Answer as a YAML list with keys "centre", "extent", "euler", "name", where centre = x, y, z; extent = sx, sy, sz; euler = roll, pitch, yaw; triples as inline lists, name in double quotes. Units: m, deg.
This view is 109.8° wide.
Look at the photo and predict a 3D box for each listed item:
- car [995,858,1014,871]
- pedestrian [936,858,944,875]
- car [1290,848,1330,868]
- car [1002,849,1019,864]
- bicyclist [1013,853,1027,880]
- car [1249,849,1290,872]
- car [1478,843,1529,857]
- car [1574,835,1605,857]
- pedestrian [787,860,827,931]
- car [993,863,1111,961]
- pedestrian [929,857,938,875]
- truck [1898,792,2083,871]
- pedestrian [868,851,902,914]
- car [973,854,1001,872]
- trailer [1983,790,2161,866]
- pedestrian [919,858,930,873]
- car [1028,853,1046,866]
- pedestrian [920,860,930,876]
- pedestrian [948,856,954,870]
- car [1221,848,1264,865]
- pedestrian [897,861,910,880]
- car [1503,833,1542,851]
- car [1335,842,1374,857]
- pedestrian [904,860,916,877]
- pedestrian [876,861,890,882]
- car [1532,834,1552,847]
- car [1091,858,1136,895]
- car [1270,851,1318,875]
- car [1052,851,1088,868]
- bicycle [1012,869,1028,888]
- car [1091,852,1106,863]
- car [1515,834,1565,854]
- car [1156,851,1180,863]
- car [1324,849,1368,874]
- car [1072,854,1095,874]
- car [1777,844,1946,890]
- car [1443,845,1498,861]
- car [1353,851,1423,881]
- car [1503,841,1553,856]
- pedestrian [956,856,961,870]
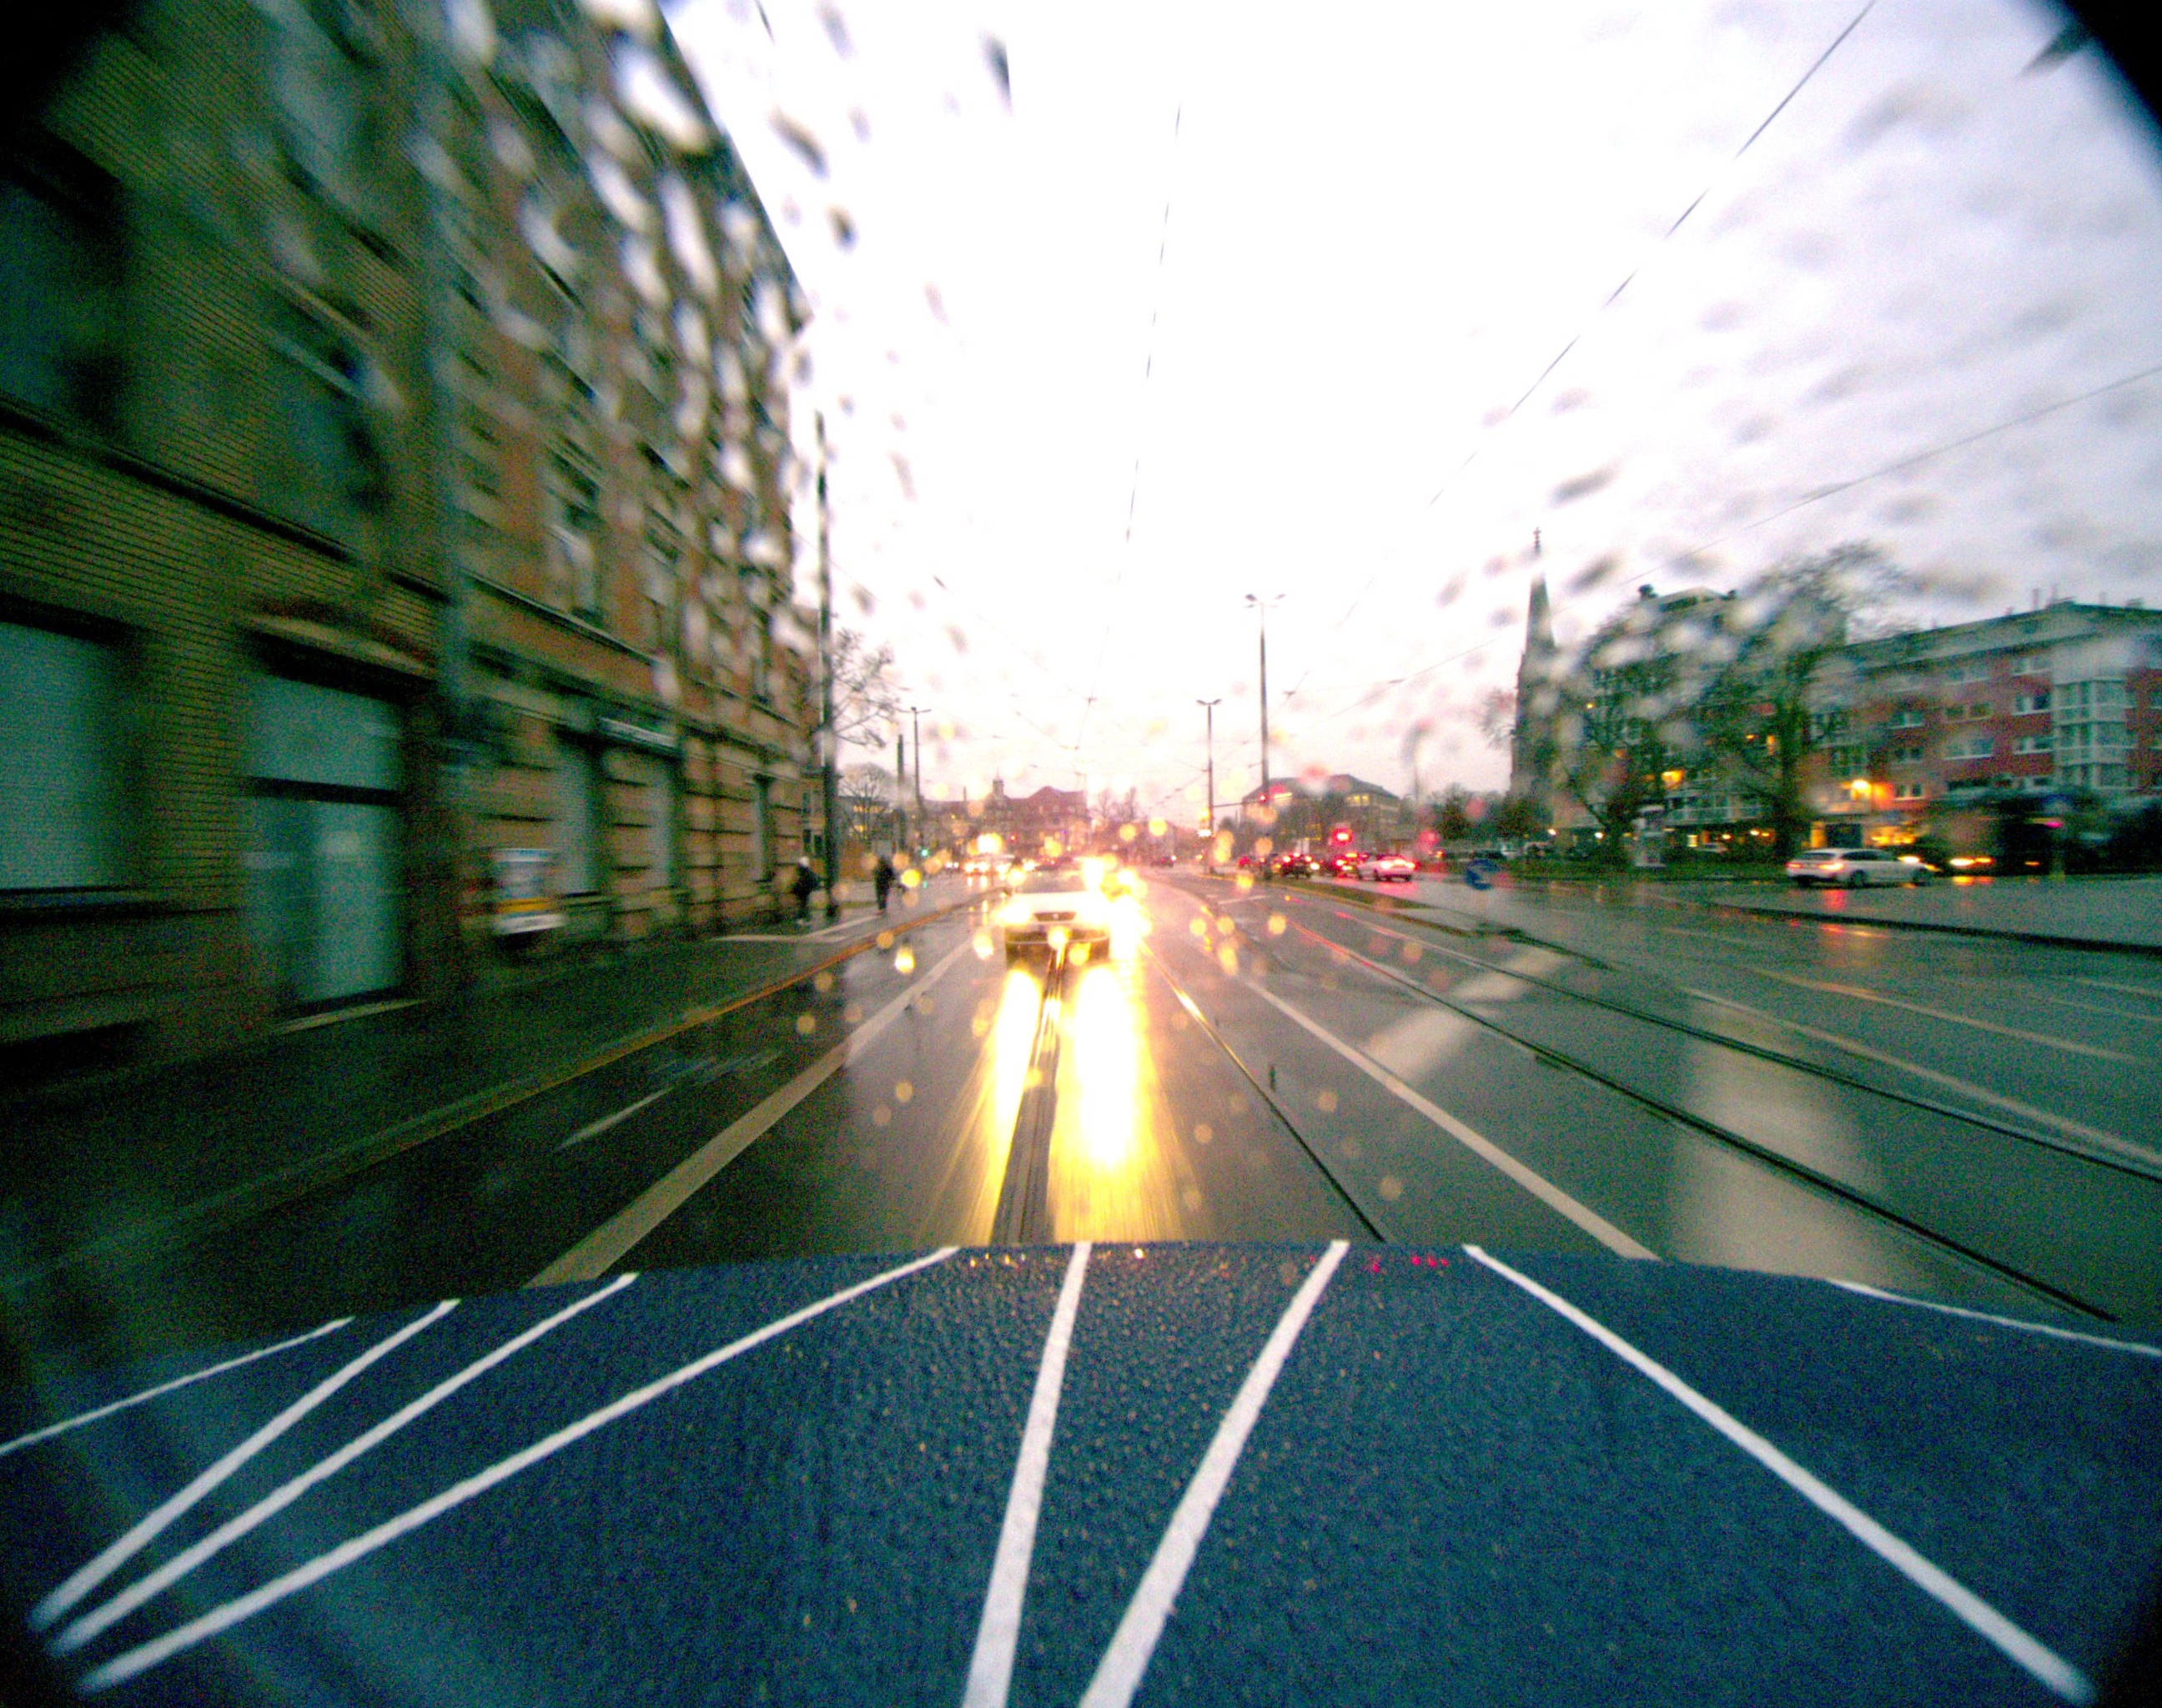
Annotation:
- centre: [-9.169, 1.245, 91.291]
  extent: [1.827, 1.499, 3.804]
  euler: [-2, 0, 0]
  name: "car"
- centre: [-14.363, 1.276, 77.362]
  extent: [0.511, 1.752, 0.637]
  euler: [-2, 1, -34]
  name: "pedestrian"
- centre: [16.302, 0.263, 54.249]
  extent: [1.728, 1.350, 4.000]
  euler: [-2, 0, 2]
  name: "car"
- centre: [-9.163, 0.337, 98.976]
  extent: [2.019, 1.809, 3.686]
  euler: [-2, 1, -7]
  name: "car"
- centre: [-3.475, 0.712, 43.373]
  extent: [0.727, 1.525, 0.785]
  euler: [-2, 1, -1]
  name: "bicyclist"
- centre: [12.919, 0.397, 52.418]
  extent: [1.904, 1.477, 4.000]
  euler: [-2, 0, 2]
  name: "car"
- centre: [41.870, -0.366, 75.363]
  extent: [2.003, 1.302, 3.989]
  euler: [-3, 1, -37]
  name: "car"
- centre: [50.091, -0.811, 74.866]
  extent: [1.994, 2.002, 4.008]
  euler: [-1, 1, 41]
  name: "car"
- centre: [-6.112, 0.912, 16.975]
  extent: [0.634, 1.539, 0.710]
  euler: [-2, 1, -7]
  name: "pedestrian"
- centre: [-0.404, 0.938, 13.903]
  extent: [1.797, 1.415, 4.000]
  euler: [-2, 0, 1]
  name: "car"
- centre: [-15.082, 1.267, 77.795]
  extent: [0.651, 1.811, 0.637]
  euler: [-2, 1, -34]
  name: "pedestrian"
- centre: [43.551, -1.069, 36.452]
  extent: [6.756, 3.398, 2.655]
  euler: [-2, 1, -10]
  name: "truck"
- centre: [-5.794, 0.832, 22.504]
  extent: [0.753, 1.814, 0.711]
  euler: [-2, 1, 2]
  name: "pedestrian"
- centre: [-10.253, 0.911, 83.043]
  extent: [1.998, 1.827, 4.872]
  euler: [-2, 0, 5]
  name: "car"
- centre: [52.882, -1.455, 38.063]
  extent: [15.058, 3.398, 2.634]
  euler: [-2, 1, -10]
  name: "trailer"
- centre: [-16.902, 1.245, 82.094]
  extent: [0.881, 1.610, 0.747]
  euler: [-2, 1, -34]
  name: "pedestrian"
- centre: [-6.504, 0.798, 111.465]
  extent: [1.826, 1.922, 3.994]
  euler: [-2, 0, -16]
  name: "car"
- centre: [-15.978, 1.396, 77.593]
  extent: [0.710, 1.610, 0.747]
  euler: [-2, 1, -34]
  name: "pedestrian"
- centre: [-16.845, 1.163, 98.440]
  extent: [0.638, 1.752, 0.510]
  euler: [-2, 1, -13]
  name: "pedestrian"
- centre: [17.015, 0.259, 80.171]
  extent: [4.091, 1.521, 2.000]
  euler: [-2, 1, 5]
  name: "car"
- centre: [-15.097, 1.399, 64.642]
  extent: [0.821, 1.610, 0.747]
  euler: [-2, 1, -33]
  name: "pedestrian"
- centre: [53.940, -1.470, 92.937]
  extent: [3.990, 2.002, 2.003]
  euler: [-2, 1, 26]
  name: "car"
- centre: [31.394, -0.511, 87.315]
  extent: [2.002, 1.554, 3.993]
  euler: [-3, 1, -20]
  name: "car"
- centre: [-17.250, 1.477, 76.600]
  extent: [0.881, 1.610, 0.747]
  euler: [-2, 1, -34]
  name: "pedestrian"
- centre: [-16.736, 1.480, 64.163]
  extent: [0.818, 1.667, 0.749]
  euler: [-2, 1, 10]
  name: "pedestrian"
- centre: [65.008, -1.926, 107.069]
  extent: [1.820, 1.783, 4.576]
  euler: [-1, 1, 39]
  name: "car"
- centre: [1.395, 0.957, 33.304]
  extent: [1.797, 1.415, 4.000]
  euler: [-2, 0, 1]
  name: "car"
- centre: [12.728, 0.506, 45.596]
  extent: [1.876, 1.382, 4.000]
  euler: [0, 0, 2]
  name: "car"
- centre: [-1.413, 0.717, 93.821]
  extent: [2.003, 2.002, 5.540]
  euler: [-3, 1, -30]
  name: "car"
- centre: [-3.456, 1.370, 43.437]
  extent: [0.725, 0.985, 2.212]
  euler: [-2, 0, -1]
  name: "bicycle"
- centre: [2.855, 0.567, 125.445]
  extent: [1.999, 1.688, 4.480]
  euler: [-2, 0, -5]
  name: "car"
- centre: [48.304, -1.022, 80.045]
  extent: [2.003, 2.002, 3.989]
  euler: [-3, 1, -37]
  name: "car"
- centre: [11.727, 0.394, 102.599]
  extent: [2.000, 1.543, 3.995]
  euler: [-2, 1, -12]
  name: "car"
- centre: [16.224, 0.429, 46.695]
  extent: [1.604, 1.410, 3.471]
  euler: [-2, 0, 2]
  name: "car"
- centre: [0.205, 0.814, 65.338]
  extent: [1.824, 1.565, 3.999]
  euler: [-2, 0, -2]
  name: "car"
- centre: [29.345, 0.455, 28.617]
  extent: [4.810, 1.489, 1.998]
  euler: [-2, 1, -8]
  name: "car"
- centre: [36.054, -0.081, 70.430]
  extent: [2.003, 1.302, 3.989]
  euler: [-3, 1, -37]
  name: "car"
- centre: [15.989, 0.596, 39.836]
  extent: [1.998, 1.413, 4.588]
  euler: [-2, 0, 2]
  name: "car"
- centre: [45.959, -0.559, 78.194]
  extent: [2.003, 1.302, 3.989]
  euler: [-3, 1, -37]
  name: "car"
- centre: [-15.913, 1.124, 98.688]
  extent: [0.638, 1.752, 0.510]
  euler: [-2, 1, -13]
  name: "pedestrian"
